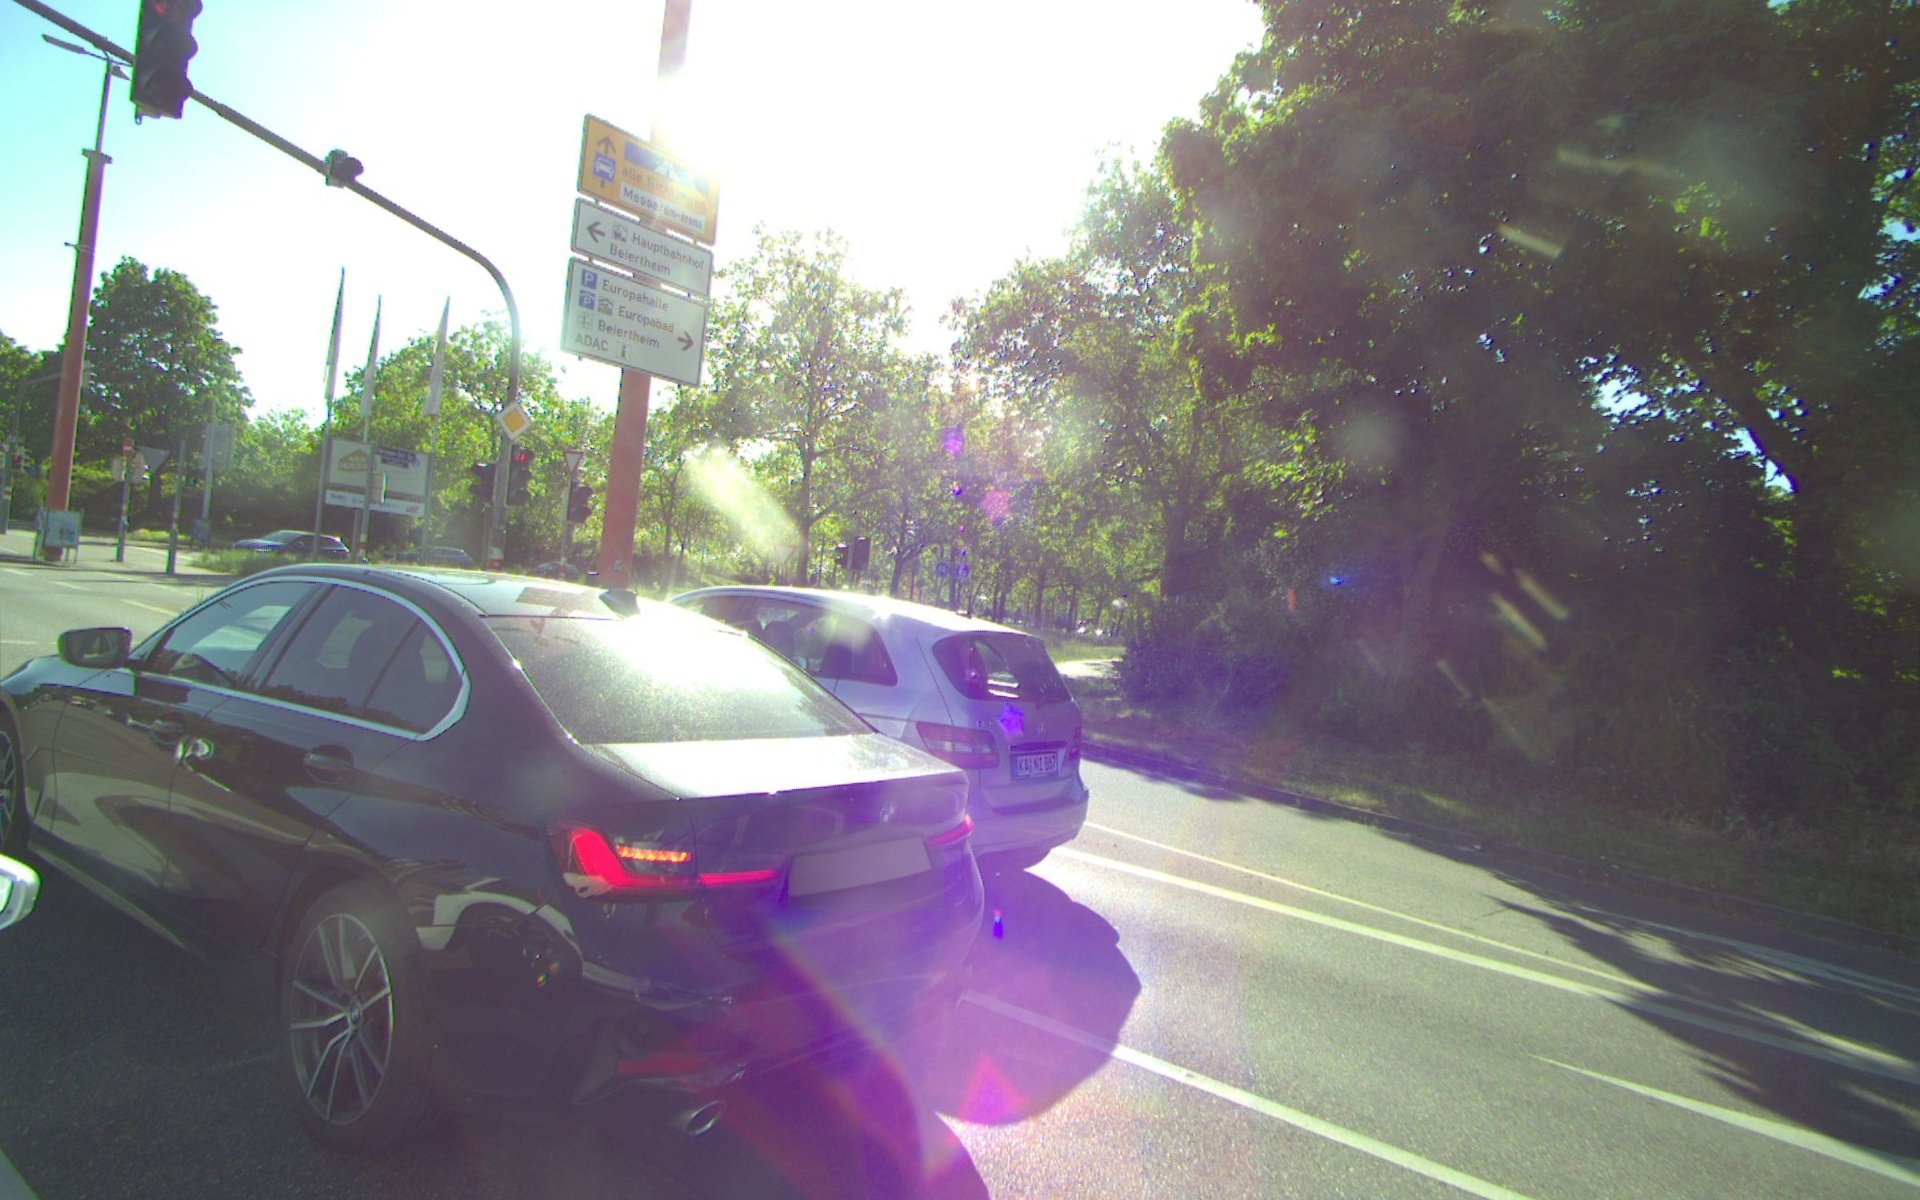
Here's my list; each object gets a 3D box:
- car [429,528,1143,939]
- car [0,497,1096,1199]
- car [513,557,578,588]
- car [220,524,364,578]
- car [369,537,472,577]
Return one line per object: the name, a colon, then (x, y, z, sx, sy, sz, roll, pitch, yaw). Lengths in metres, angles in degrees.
car: (-1.289, 0.643, 6.793, 4.403, 1.706, 1.970, 7, -1, 32)
car: (-1.967, 0.532, 3.885, 4.403, 1.411, 1.996, 7, 0, 32)
car: (-27.269, -1.762, 66.343, 2.125, 1.592, 4.283, 7, -1, 5)
car: (-25.093, -1.812, 37.988, 1.848, 1.445, 4.283, 7, -1, 14)
car: (-30.016, -2.382, 56.141, 2.127, 1.592, 4.580, 7, -1, 24)
